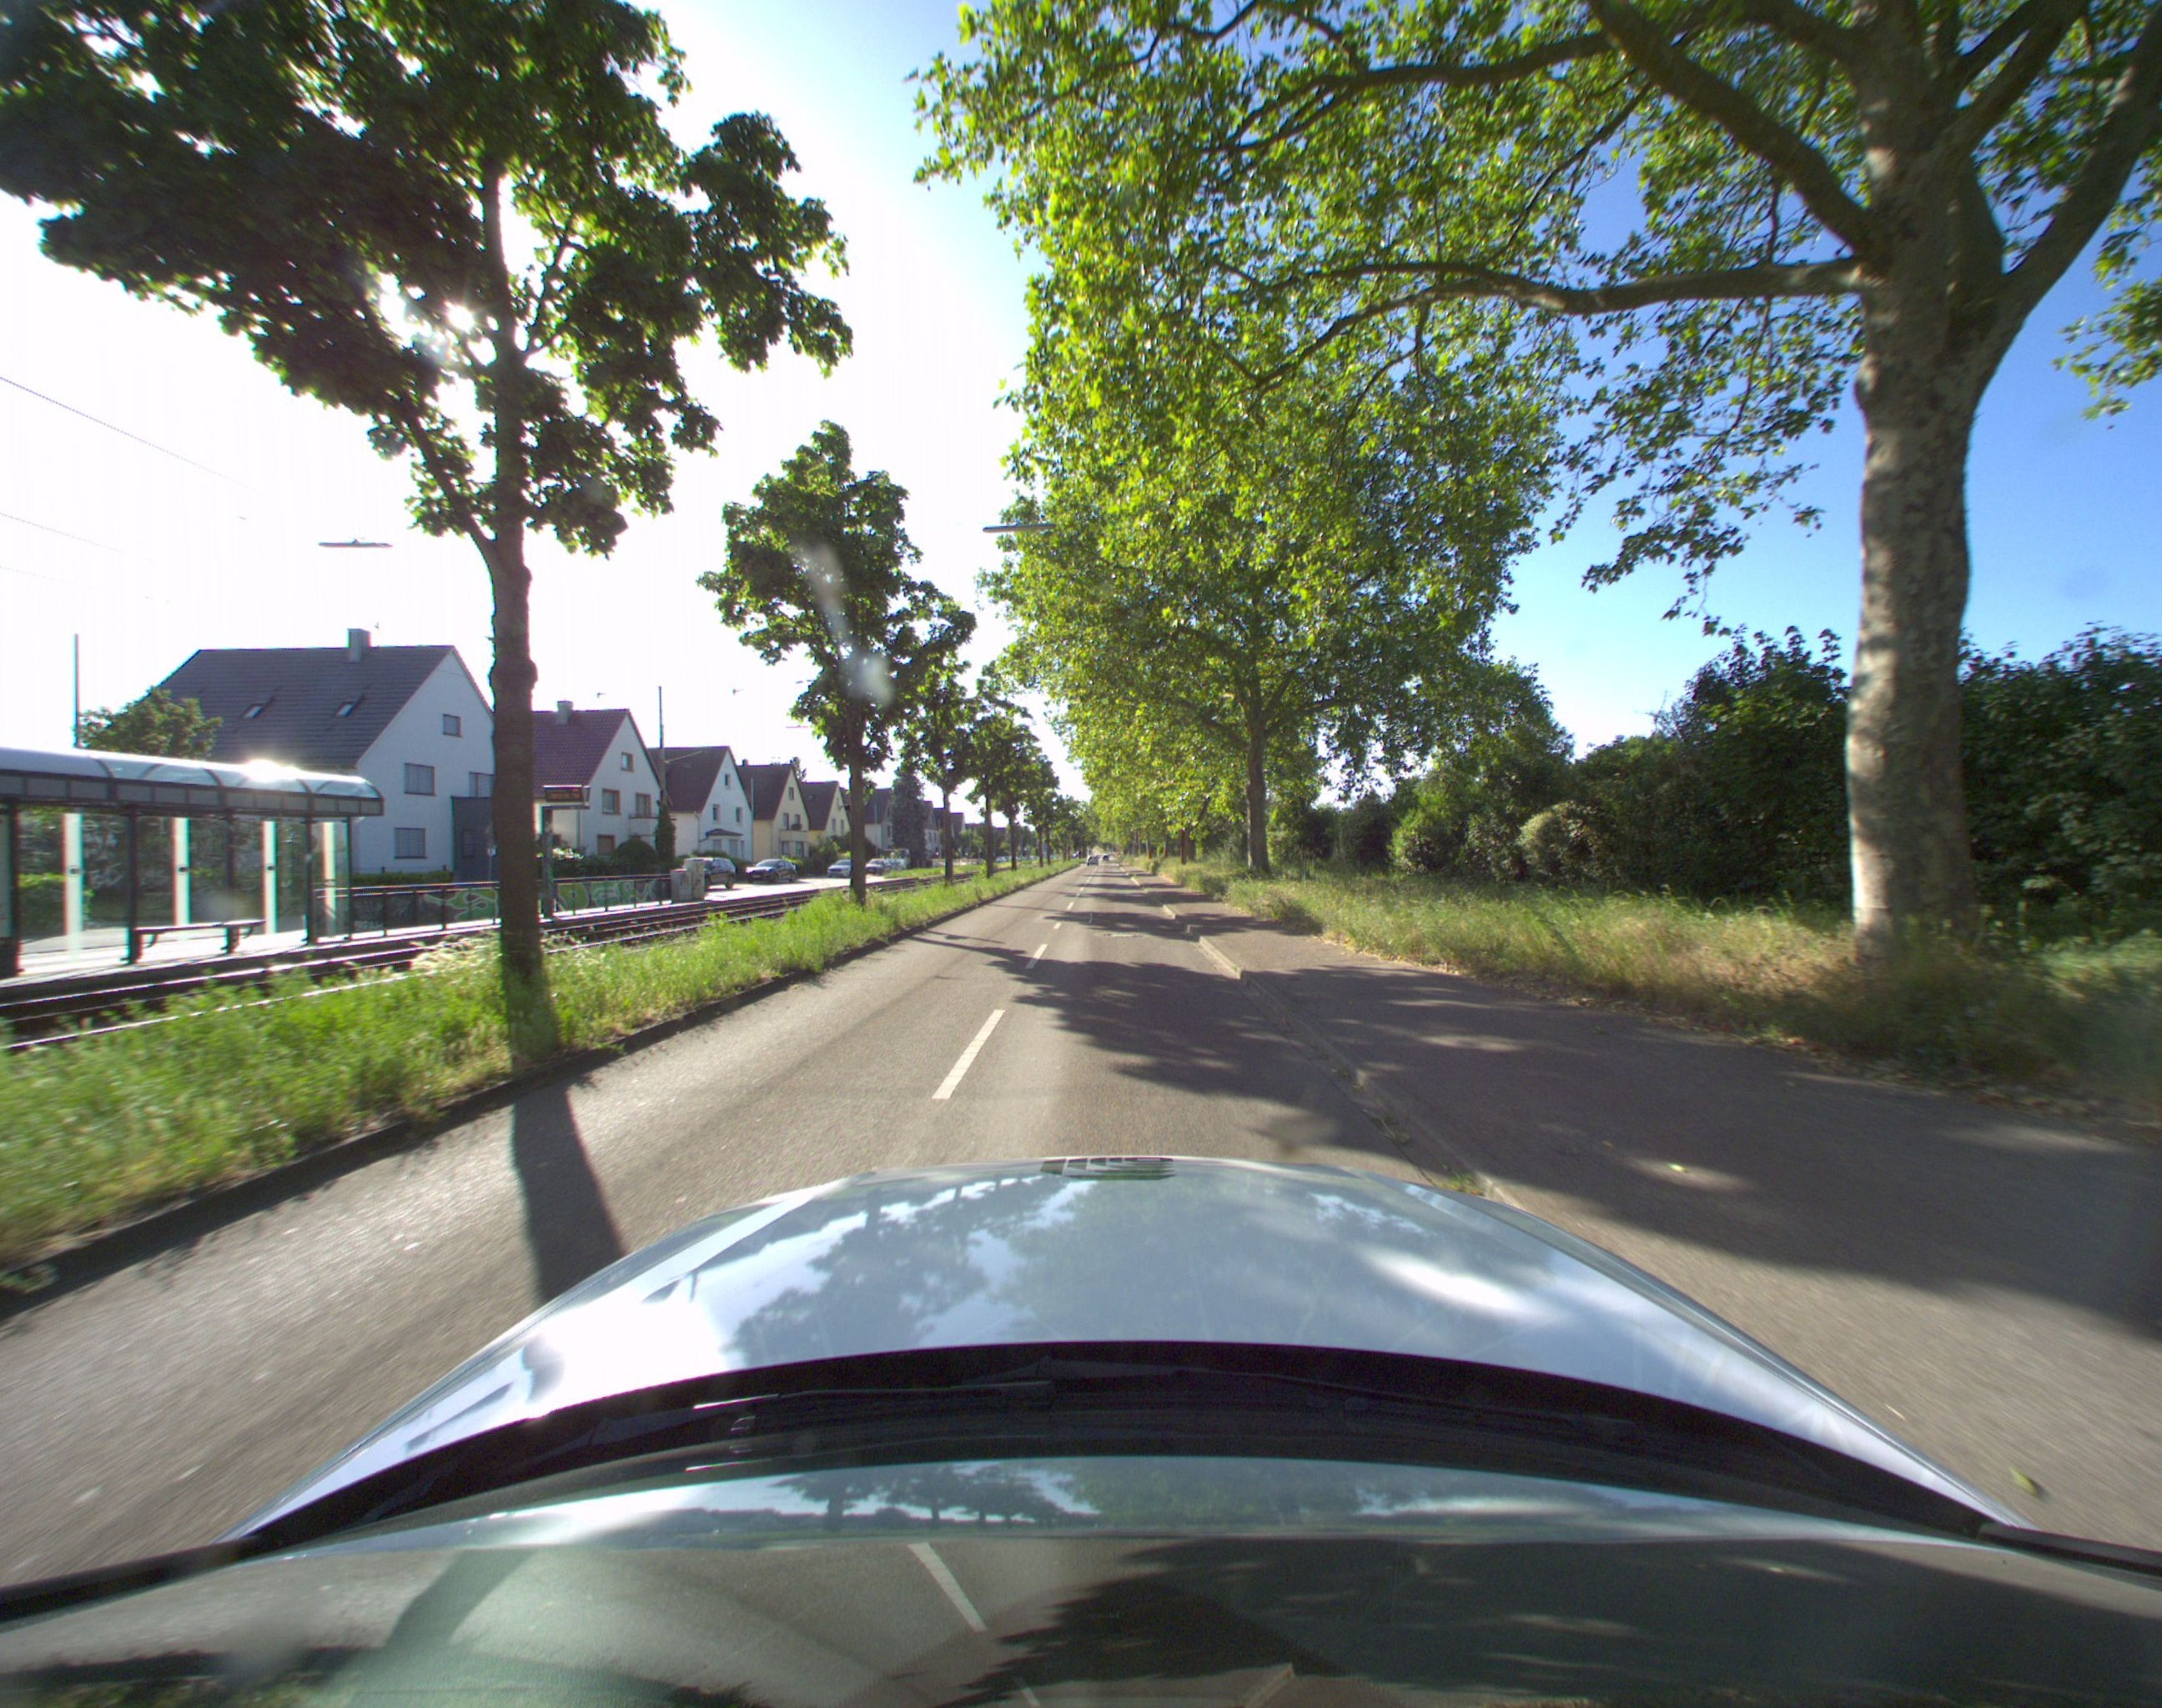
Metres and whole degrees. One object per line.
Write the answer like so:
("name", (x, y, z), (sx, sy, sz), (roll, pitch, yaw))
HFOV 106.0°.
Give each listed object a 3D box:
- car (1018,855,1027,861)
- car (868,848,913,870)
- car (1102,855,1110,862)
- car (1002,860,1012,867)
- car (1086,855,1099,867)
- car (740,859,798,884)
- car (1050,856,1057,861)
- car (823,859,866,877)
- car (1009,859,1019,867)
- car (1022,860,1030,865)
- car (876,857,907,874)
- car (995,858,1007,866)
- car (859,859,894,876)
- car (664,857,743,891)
("car", (-14.695, 0.999, 203.296), (1.853, 1.369, 4.229), (0, 0, 1))
("car", (-23.624, 0.607, 101.002), (5.010, 2.625, 2.103), (-1, 0, 1))
("car", (5.787, 1.159, 190.210), (1.986, 1.603, 4.474), (0, 0, 1))
("car", (-15.686, 1.933, 172.554), (1.723, 1.466, 4.603), (0, 0, 1))
("car", (1.708, 1.008, 117.189), (1.853, 1.601, 4.229), (0, 0, 1))
("car", (-19.753, 1.088, 51.803), (1.919, 1.495, 4.257), (0, 0, 2))
("car", (-8.731, 1.586, 260.442), (1.986, 1.603, 4.474), (0, 0, 1))
("car", (-19.086, 1.102, 65.970), (1.985, 1.426, 4.414), (0, 0, 3))
("car", (-15.143, 2.034, 183.503), (1.741, 1.651, 4.556), (0, 0, 1))
("car", (-14.995, 2.211, 221.773), (1.853, 1.413, 4.159), (0, 0, 1))
("car", (-18.558, 1.097, 79.822), (1.939, 1.553, 4.058), (0, 0, 2))
("car", (-16.040, 1.522, 163.600), (1.853, 1.542, 4.229), (0, 0, 1))
("car", (-18.822, 1.243, 75.042), (1.986, 1.450, 4.129), (2, 0, 2))
("car", (-19.639, 1.003, 42.609), (1.986, 1.713, 4.392), (0, 0, 2))
